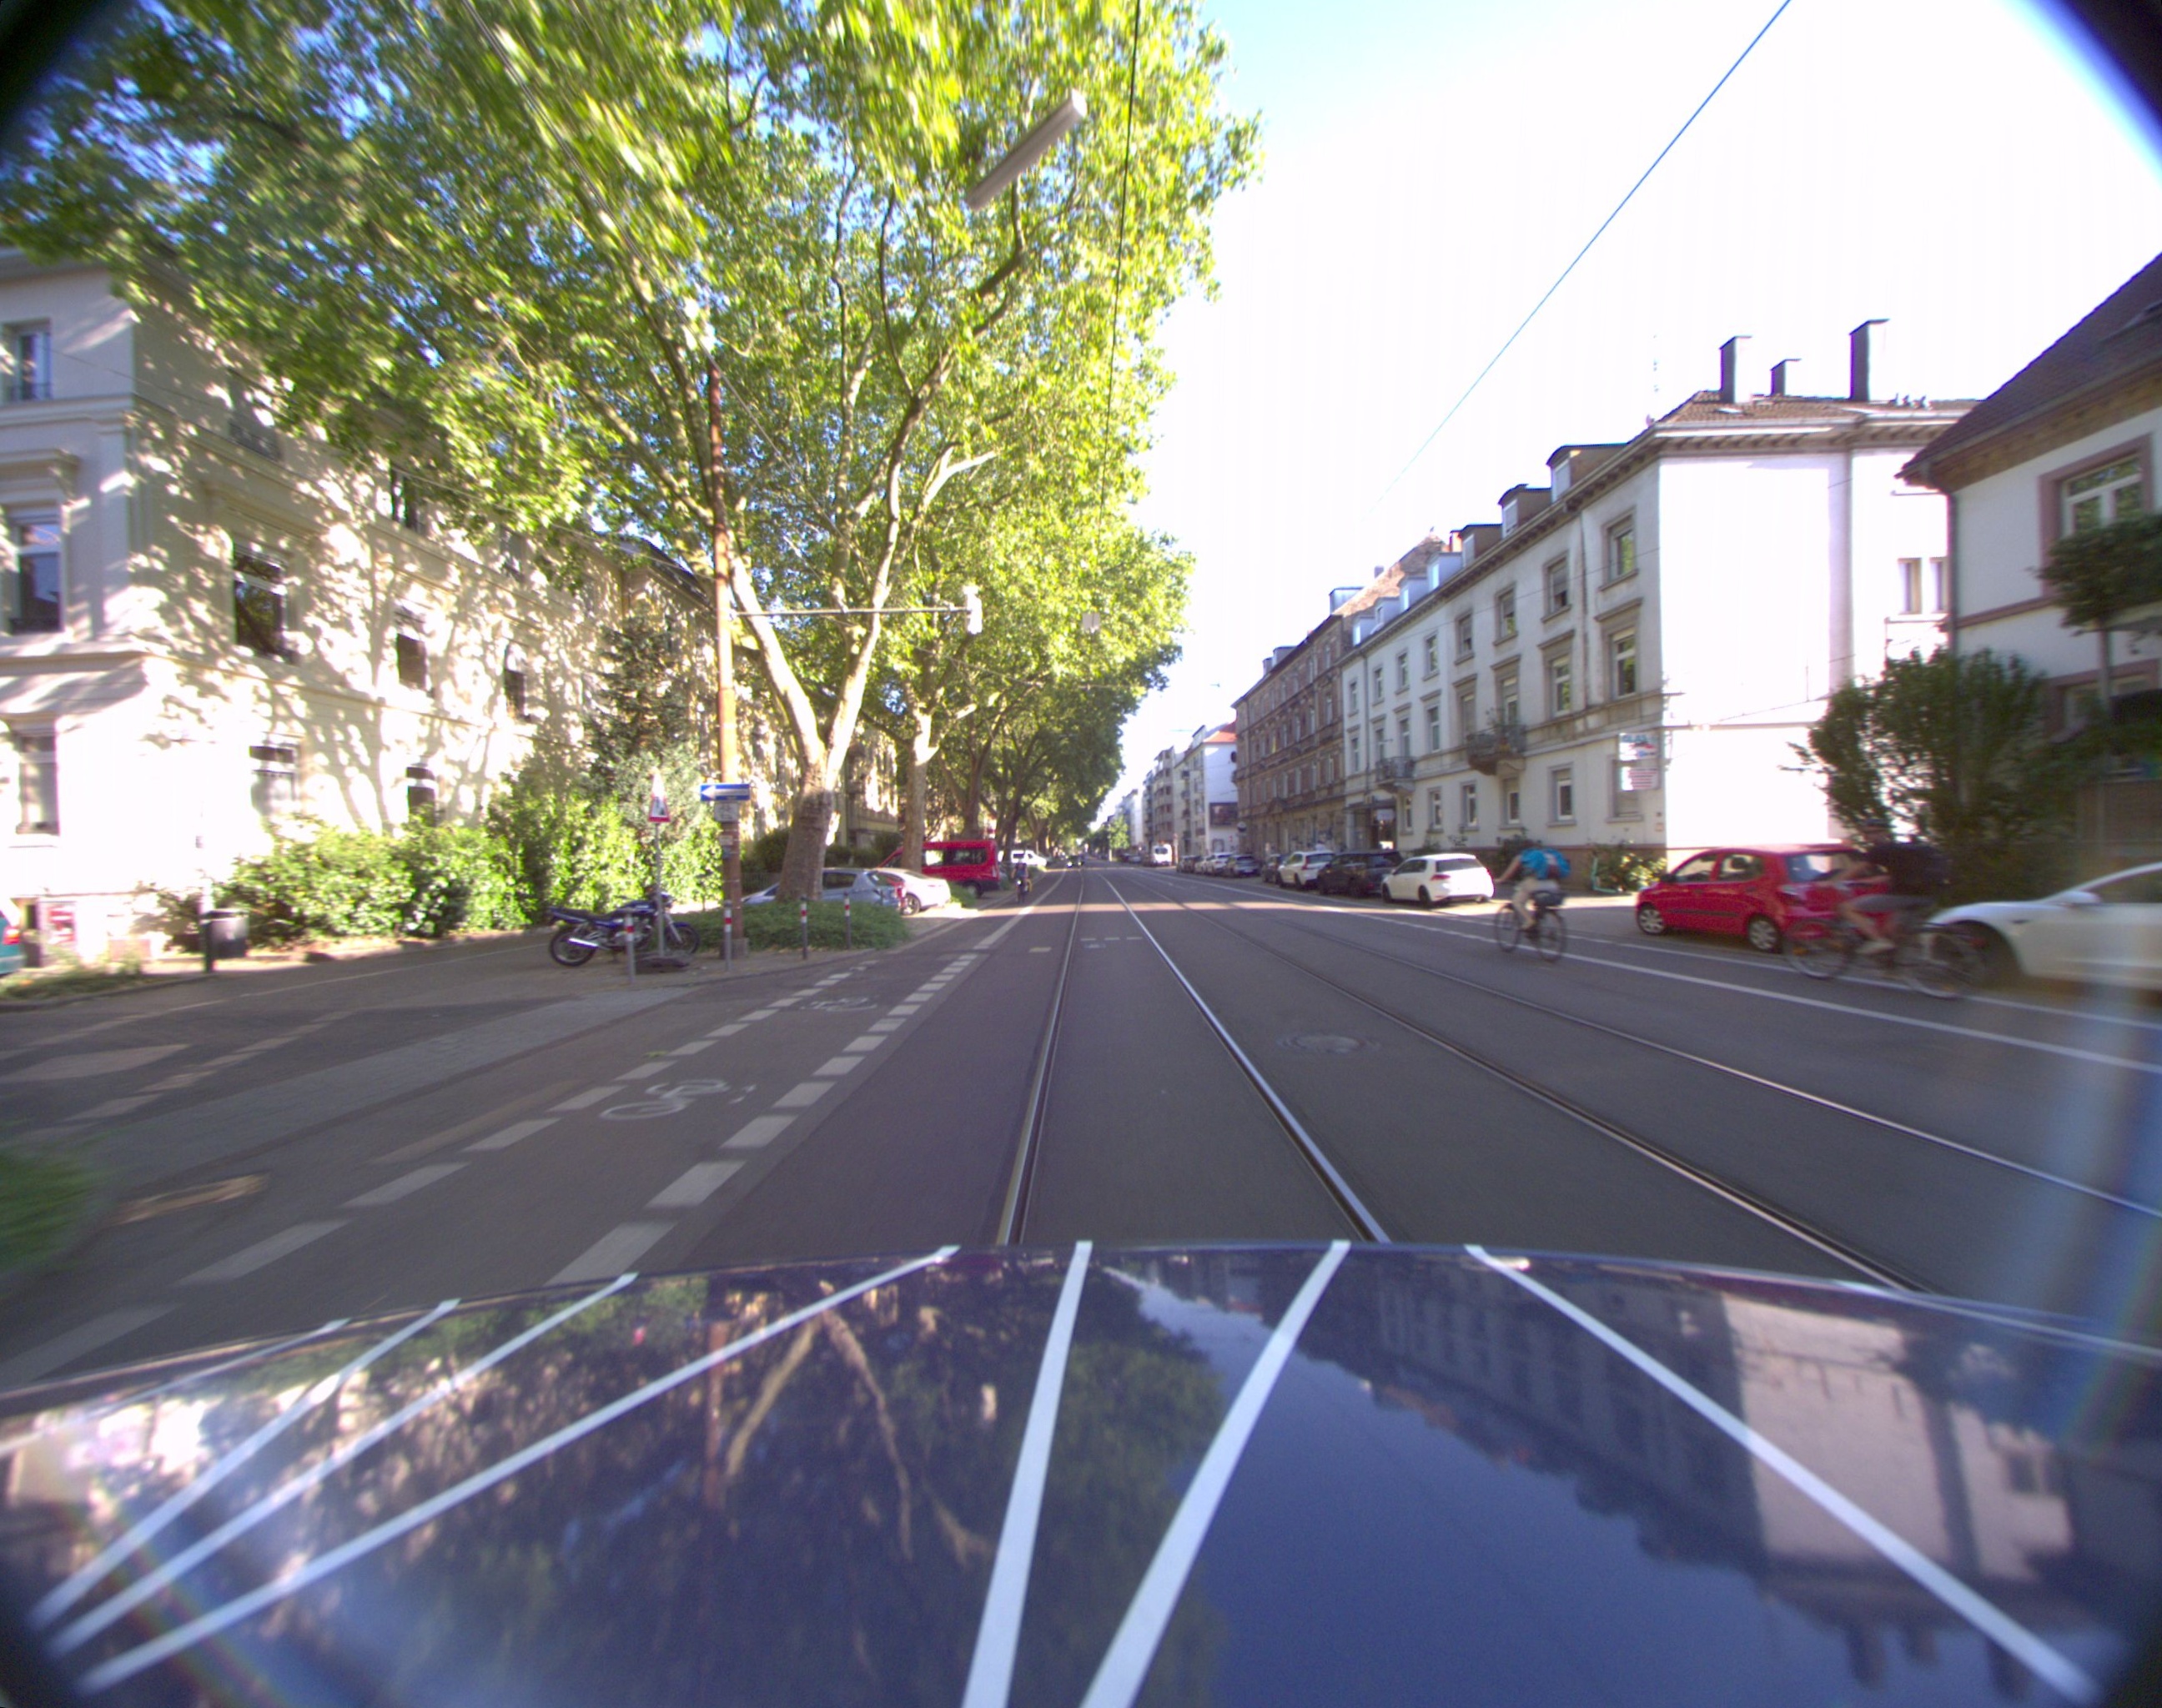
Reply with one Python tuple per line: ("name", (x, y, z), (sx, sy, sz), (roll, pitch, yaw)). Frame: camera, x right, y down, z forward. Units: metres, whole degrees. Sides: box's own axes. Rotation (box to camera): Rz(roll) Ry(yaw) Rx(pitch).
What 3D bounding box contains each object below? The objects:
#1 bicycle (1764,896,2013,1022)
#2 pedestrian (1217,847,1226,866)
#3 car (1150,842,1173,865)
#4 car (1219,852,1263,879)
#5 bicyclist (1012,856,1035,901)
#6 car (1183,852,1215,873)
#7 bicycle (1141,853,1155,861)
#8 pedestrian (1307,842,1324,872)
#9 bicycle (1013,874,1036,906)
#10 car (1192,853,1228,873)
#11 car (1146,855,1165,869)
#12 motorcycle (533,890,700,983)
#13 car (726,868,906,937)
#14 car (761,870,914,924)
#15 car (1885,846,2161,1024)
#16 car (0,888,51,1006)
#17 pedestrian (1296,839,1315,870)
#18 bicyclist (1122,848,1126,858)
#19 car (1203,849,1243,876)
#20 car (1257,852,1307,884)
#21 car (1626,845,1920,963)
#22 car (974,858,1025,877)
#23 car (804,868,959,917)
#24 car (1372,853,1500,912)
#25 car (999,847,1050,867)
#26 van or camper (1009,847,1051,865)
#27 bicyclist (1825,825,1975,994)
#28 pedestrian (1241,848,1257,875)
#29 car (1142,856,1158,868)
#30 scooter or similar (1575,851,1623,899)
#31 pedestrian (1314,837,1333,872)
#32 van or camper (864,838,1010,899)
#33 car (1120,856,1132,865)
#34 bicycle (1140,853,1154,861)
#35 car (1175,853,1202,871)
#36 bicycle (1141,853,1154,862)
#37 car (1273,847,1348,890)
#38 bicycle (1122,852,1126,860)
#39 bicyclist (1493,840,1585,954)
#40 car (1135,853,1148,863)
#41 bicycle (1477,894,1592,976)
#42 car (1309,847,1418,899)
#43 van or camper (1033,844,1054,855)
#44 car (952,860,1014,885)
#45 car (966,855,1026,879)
("bicycle", (8.342, 1.020, 8.006), (0.486, 1.041, 2.039), (0, 0, 2))
("pedestrian", (12.879, 0.238, 69.696), (0.658, 1.738, 0.894), (-3, -1, 3))
("car", (9.447, -0.045, 89.503), (2.070, 2.521, 5.666), (-2, 0, 1))
("car", (10.025, 0.706, 47.805), (1.667, 1.512, 4.063), (-3, 0, -3))
("bicyclist", (-2.099, 0.889, 27.989), (0.616, 1.543, 0.935), (-6, 1, 0))
("car", (9.895, 0.685, 63.913), (1.745, 1.553, 4.785), (-3, 0, -2))
("bicycle", (9.588, 0.445, 109.029), (1.897, 1.032, 0.402), (-3, 1, 6))
("pedestrian", (13.046, 0.169, 42.203), (0.663, 1.656, 0.770), (-2, 1, 31))
("bicycle", (-2.063, 1.308, 28.019), (0.596, 0.998, 2.511), (-4, 0, 0))
("car", (9.890, 0.672, 58.556), (1.704, 1.412, 3.998), (-3, 0, -4))
("car", (9.270, 0.976, 94.769), (1.723, 1.622, 4.346), (-2, 0, -2))
("motorcycle", (-7.312, 1.271, 12.086), (2.174, 1.221, 0.474), (-3, 1, -28))
("car", (-6.326, 1.140, 18.431), (3.760, 1.499, 1.681), (-1, 0, 0))
("car", (-6.658, 1.160, 21.122), (3.762, 1.379, 1.680), (0, 0, -6))
("car", (10.447, 0.715, 6.598), (1.832, 1.494, 4.687), (-3, 0, -2))
("car", (-16.641, 1.365, 10.127), (3.480, 1.580, 1.630), (-1, 4, 1))
("pedestrian", (13.245, 0.045, 44.808), (0.761, 1.810, 0.830), (-2, 1, -3))
("bicyclist", (6.997, -0.159, 123.383), (0.584, 1.473, 0.807), (-1, 1, -1))
("car", (9.912, 0.538, 53.411), (1.791, 1.713, 4.718), (-3, 0, 0))
("car", (10.024, 0.660, 38.057), (1.557, 1.506, 3.924), (-1, 0, 2))
("car", (10.487, 0.666, 11.888), (1.573, 1.553, 3.449), (-1, 0, 4))
("car", (-6.556, 1.079, 61.496), (4.040, 1.471, 1.680), (-1, 0, -6))
("car", (-6.087, 1.171, 23.460), (4.296, 1.409, 1.760), (0, 0, 1))
("car", (10.287, 0.762, 22.378), (1.691, 1.468, 4.257), (-3, 0, 0))
("car", (-6.870, 0.376, 92.681), (6.006, 2.269, 2.006), (-1, 0, 1))
("van or camper", (-7.432, 0.242, 111.206), (6.048, 2.476, 2.107), (-1, 1, -1))
("bicyclist", (8.312, 0.534, 7.757), (0.536, 1.625, 0.896), (0, 1, 1))
("pedestrian", (11.632, 0.493, 52.570), (0.686, 1.790, 1.056), (-3, 1, -9))
("car", (9.167, 1.021, 100.713), (1.722, 1.448, 4.572), (-2, 0, 1))
("scooter or similar", (14.431, 0.569, 21.196), (0.447, 1.272, 1.576), (-2, 0, 8))
("pedestrian", (14.311, 0.013, 44.867), (0.761, 2.002, 0.830), (-2, 1, -2))
("van or camper", (-6.042, 0.614, 32.510), (5.831, 2.504, 2.287), (0, 0, -2))
("car", (8.318, 1.225, 140.560), (1.660, 1.591, 4.201), (-3, 0, -2))
("bicycle", (9.791, 0.488, 112.516), (1.935, 1.112, 0.440), (-3, 1, 6))
("car", (9.734, 0.732, 69.199), (1.745, 1.483, 4.044), (-3, 0, -2))
("bicycle", (9.722, 0.507, 110.386), (1.793, 1.112, 0.425), (-3, 1, 6))
("car", (9.861, 0.595, 33.051), (1.861, 1.693, 4.762), (-1, 0, 1))
("bicycle", (6.973, 0.321, 123.202), (0.422, 1.144, 2.231), (-1, 1, -1))
("bicyclist", (6.298, 0.560, 10.506), (0.640, 1.494, 1.069), (-1, 1, 1))
("car", (9.919, 0.628, 125.134), (1.694, 1.482, 4.728), (-2, 0, 0))
("bicycle", (6.255, 1.078, 10.611), (0.500, 0.937, 1.921), (0, 0, 2))
("car", (10.106, 0.624, 27.592), (1.862, 1.693, 4.657), (-1, 0, -5))
("van or camper", (-7.804, -0.984, 157.850), (4.389, 2.097, 1.837), (-1, 1, -4))
("car", (-6.013, 1.109, 46.757), (3.604, 1.509, 1.693), (0, 0, 0))
("car", (-6.245, 0.947, 56.043), (4.274, 1.709, 1.848), (1, 0, -3))
